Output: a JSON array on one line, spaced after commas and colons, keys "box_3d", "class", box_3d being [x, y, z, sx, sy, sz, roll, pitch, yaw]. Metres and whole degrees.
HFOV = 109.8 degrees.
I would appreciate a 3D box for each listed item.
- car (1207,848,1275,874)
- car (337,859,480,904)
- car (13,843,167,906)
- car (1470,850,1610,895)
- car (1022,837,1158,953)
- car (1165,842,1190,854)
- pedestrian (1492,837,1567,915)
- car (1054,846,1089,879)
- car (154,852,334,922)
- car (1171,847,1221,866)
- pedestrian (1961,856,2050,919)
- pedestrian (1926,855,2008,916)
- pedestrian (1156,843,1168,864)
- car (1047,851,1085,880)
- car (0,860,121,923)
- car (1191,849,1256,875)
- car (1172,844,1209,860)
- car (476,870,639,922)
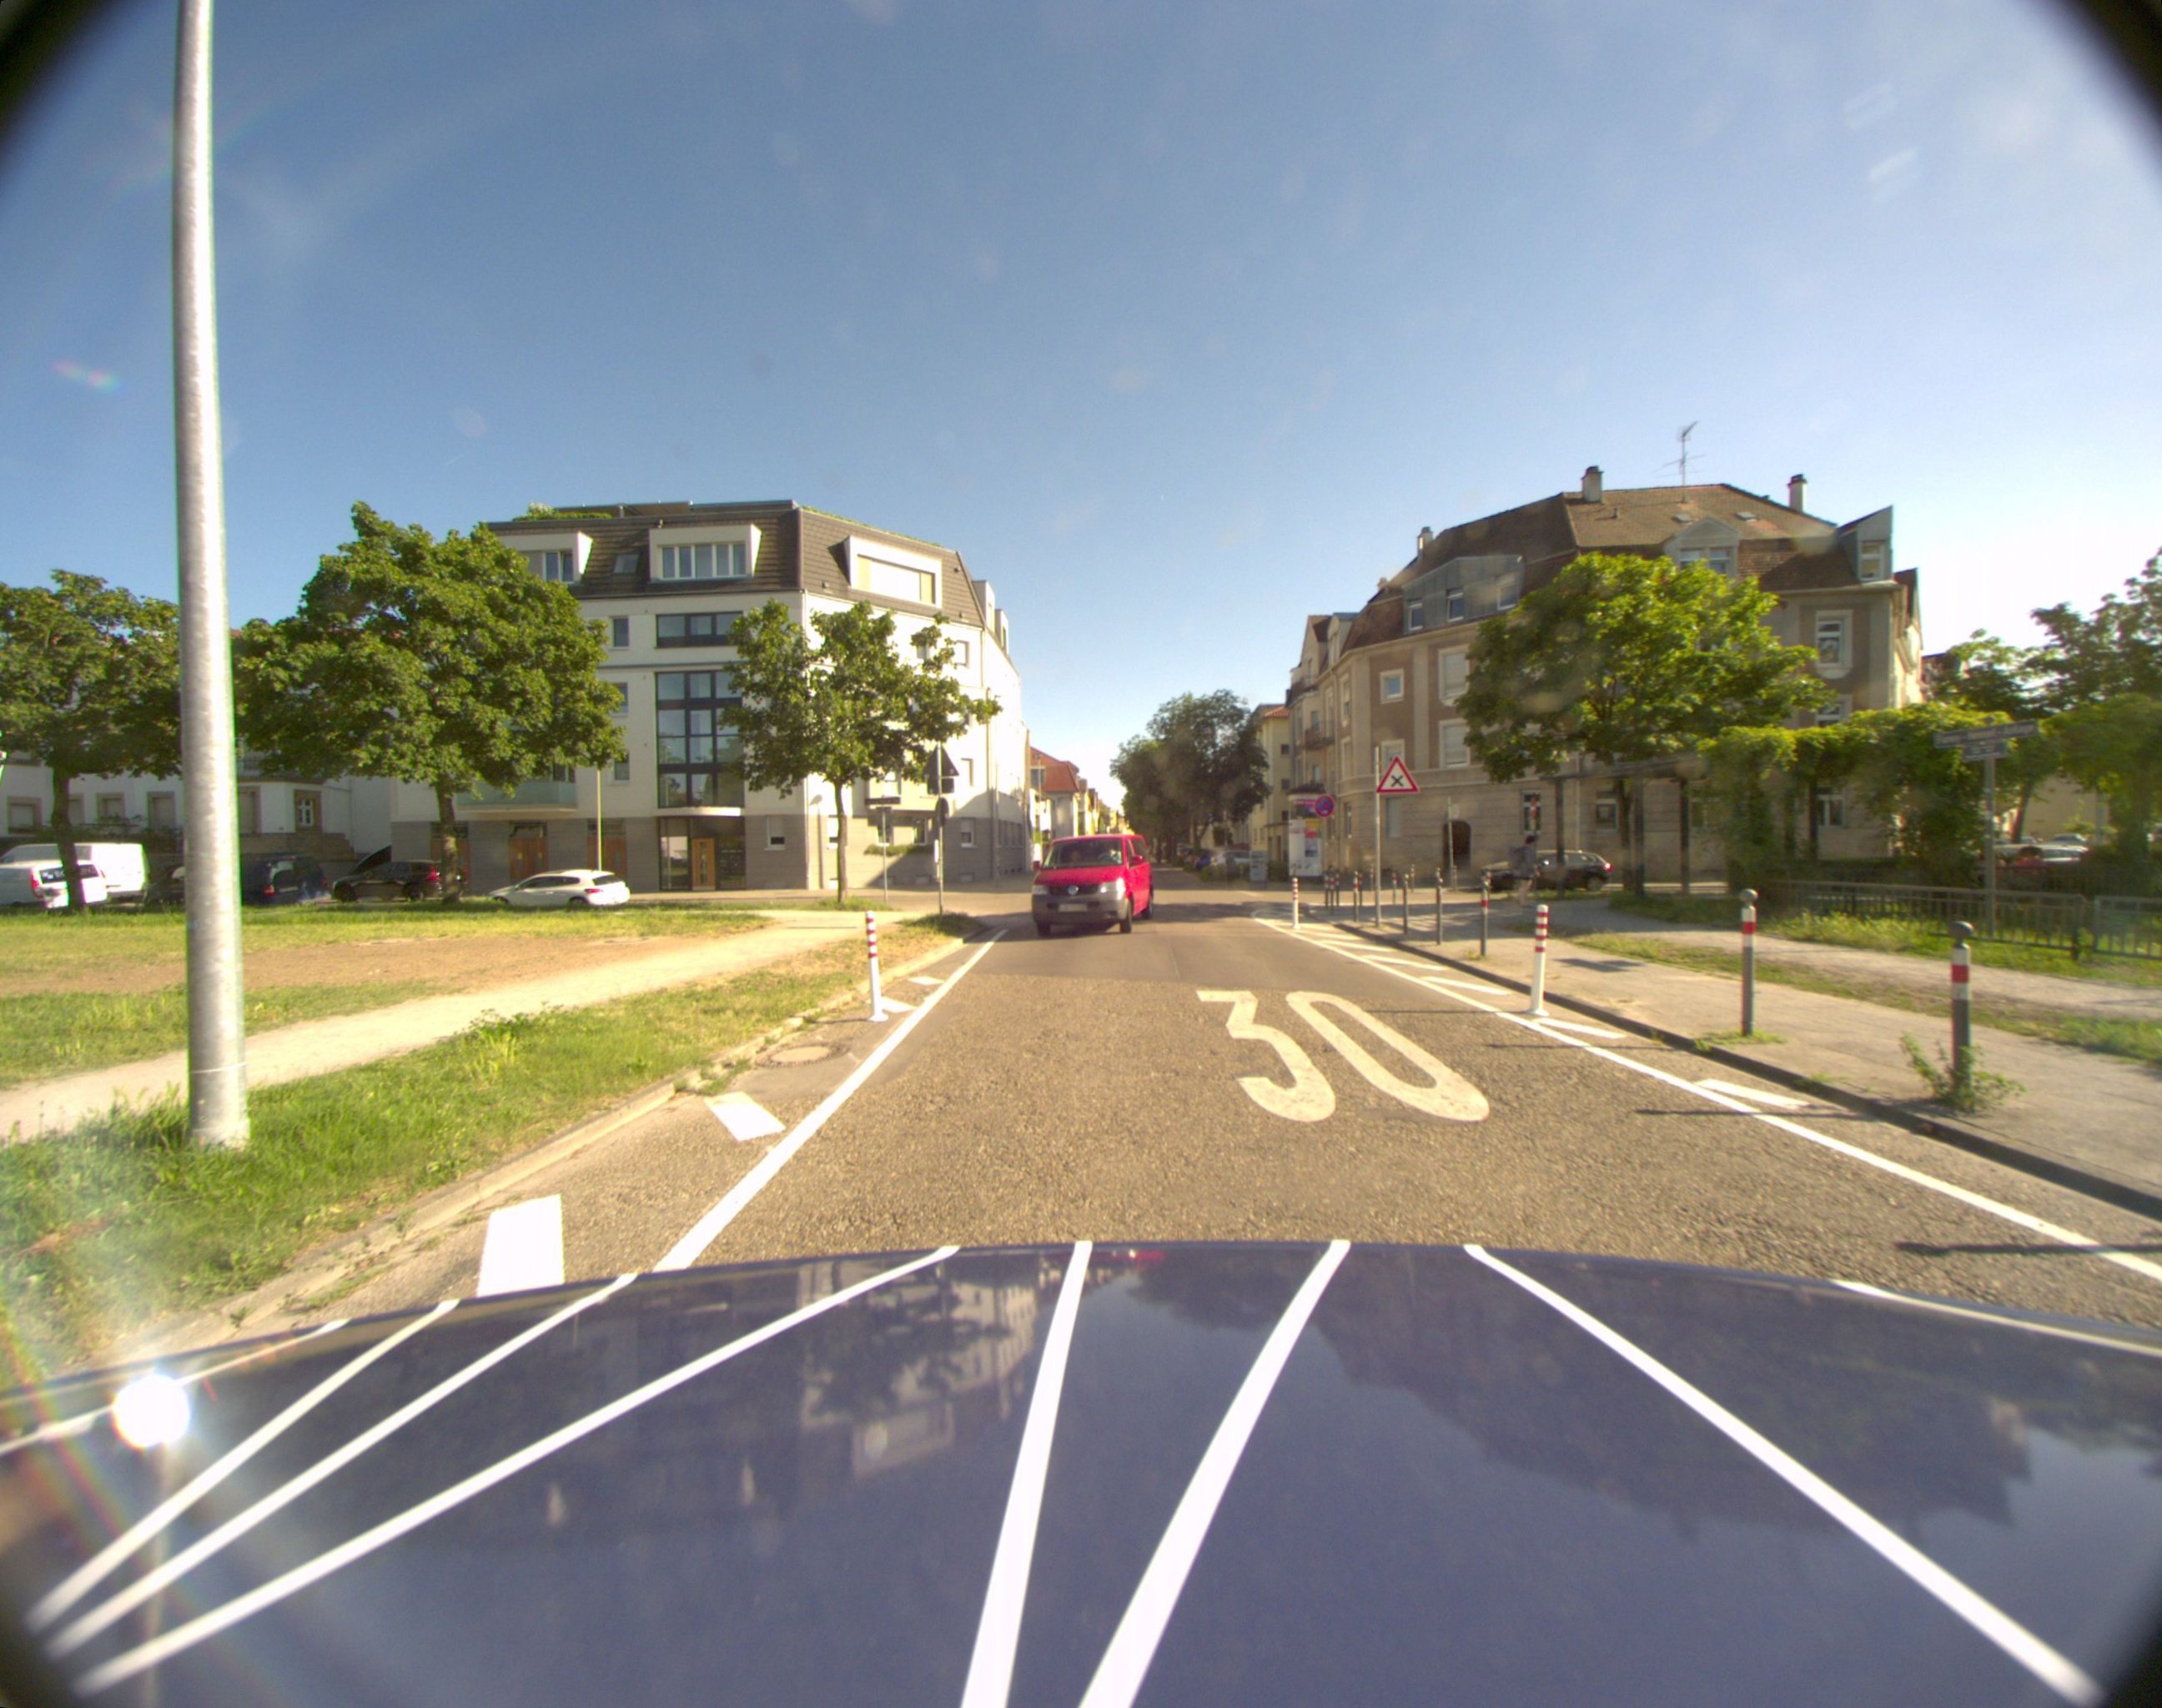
[{"box_3d": [9.718, 0.439, 46.254, 3.788, 1.436, 1.692, -2, 1, 1], "class": "car"}, {"box_3d": [-27.397, 1.106, 31.035, 4.284, 1.673, 1.896, -1, 2, 5], "class": "car"}, {"box_3d": [-41.747, 0.828, 32.092, 3.989, 2.534, 2.023, -1, 2, 5], "class": "car"}, {"box_3d": [16.852, 0.660, 28.064, 4.011, 1.476, 1.867, -1, 4, 1], "class": "car"}, {"box_3d": [0.392, 0.677, 15.930, 1.893, 1.950, 4.889, 0, 2, 12], "class": "car"}, {"box_3d": [14.091, -0.901, 111.053, 3.527, 1.693, 1.692, -2, 1, 2], "class": "car"}, {"box_3d": [10.233, 0.484, 17.373, 1.090, 1.665, 0.912, -4, 2, -14], "class": "pedestrian"}, {"box_3d": [-0.502, 0.453, 45.348, 1.664, 1.825, 4.257, 2, 1, 4], "class": "car"}, {"box_3d": [-27.422, 1.042, 24.980, 3.989, 2.073, 1.783, -1, 5, 5], "class": "car"}, {"box_3d": [9.490, 0.200, 62.840, 3.791, 1.486, 1.691, -2, 1, -9], "class": "car"}, {"box_3d": [17.084, 0.602, 14.052, 0.874, 1.132, 0.599, 0, 1, 5], "class": "pedestrian"}, {"box_3d": [17.155, 0.597, 14.730, 0.845, 1.143, 0.599, 0, 1, 5], "class": "pedestrian"}, {"box_3d": [7.643, -0.045, 71.608, 1.023, 2.002, 1.071, 0, 1, 3], "class": "pedestrian"}, {"box_3d": [-0.762, 0.589, 40.890, 1.664, 1.440, 3.689, 2, 1, 4], "class": "car"}, {"box_3d": [-35.639, 1.238, 25.554, 4.418, 1.874, 1.875, -1, 5, 5], "class": "car"}, {"box_3d": [9.058, 0.494, 48.485, 3.788, 1.486, 1.692, -2, 1, 1], "class": "car"}, {"box_3d": [11.327, -0.192, 78.596, 3.528, 1.486, 1.692, -2, 1, -1], "class": "car"}, {"box_3d": [-16.760, 1.332, 24.445, 3.990, 1.426, 1.739, -1, 5, 4], "class": "car"}]
